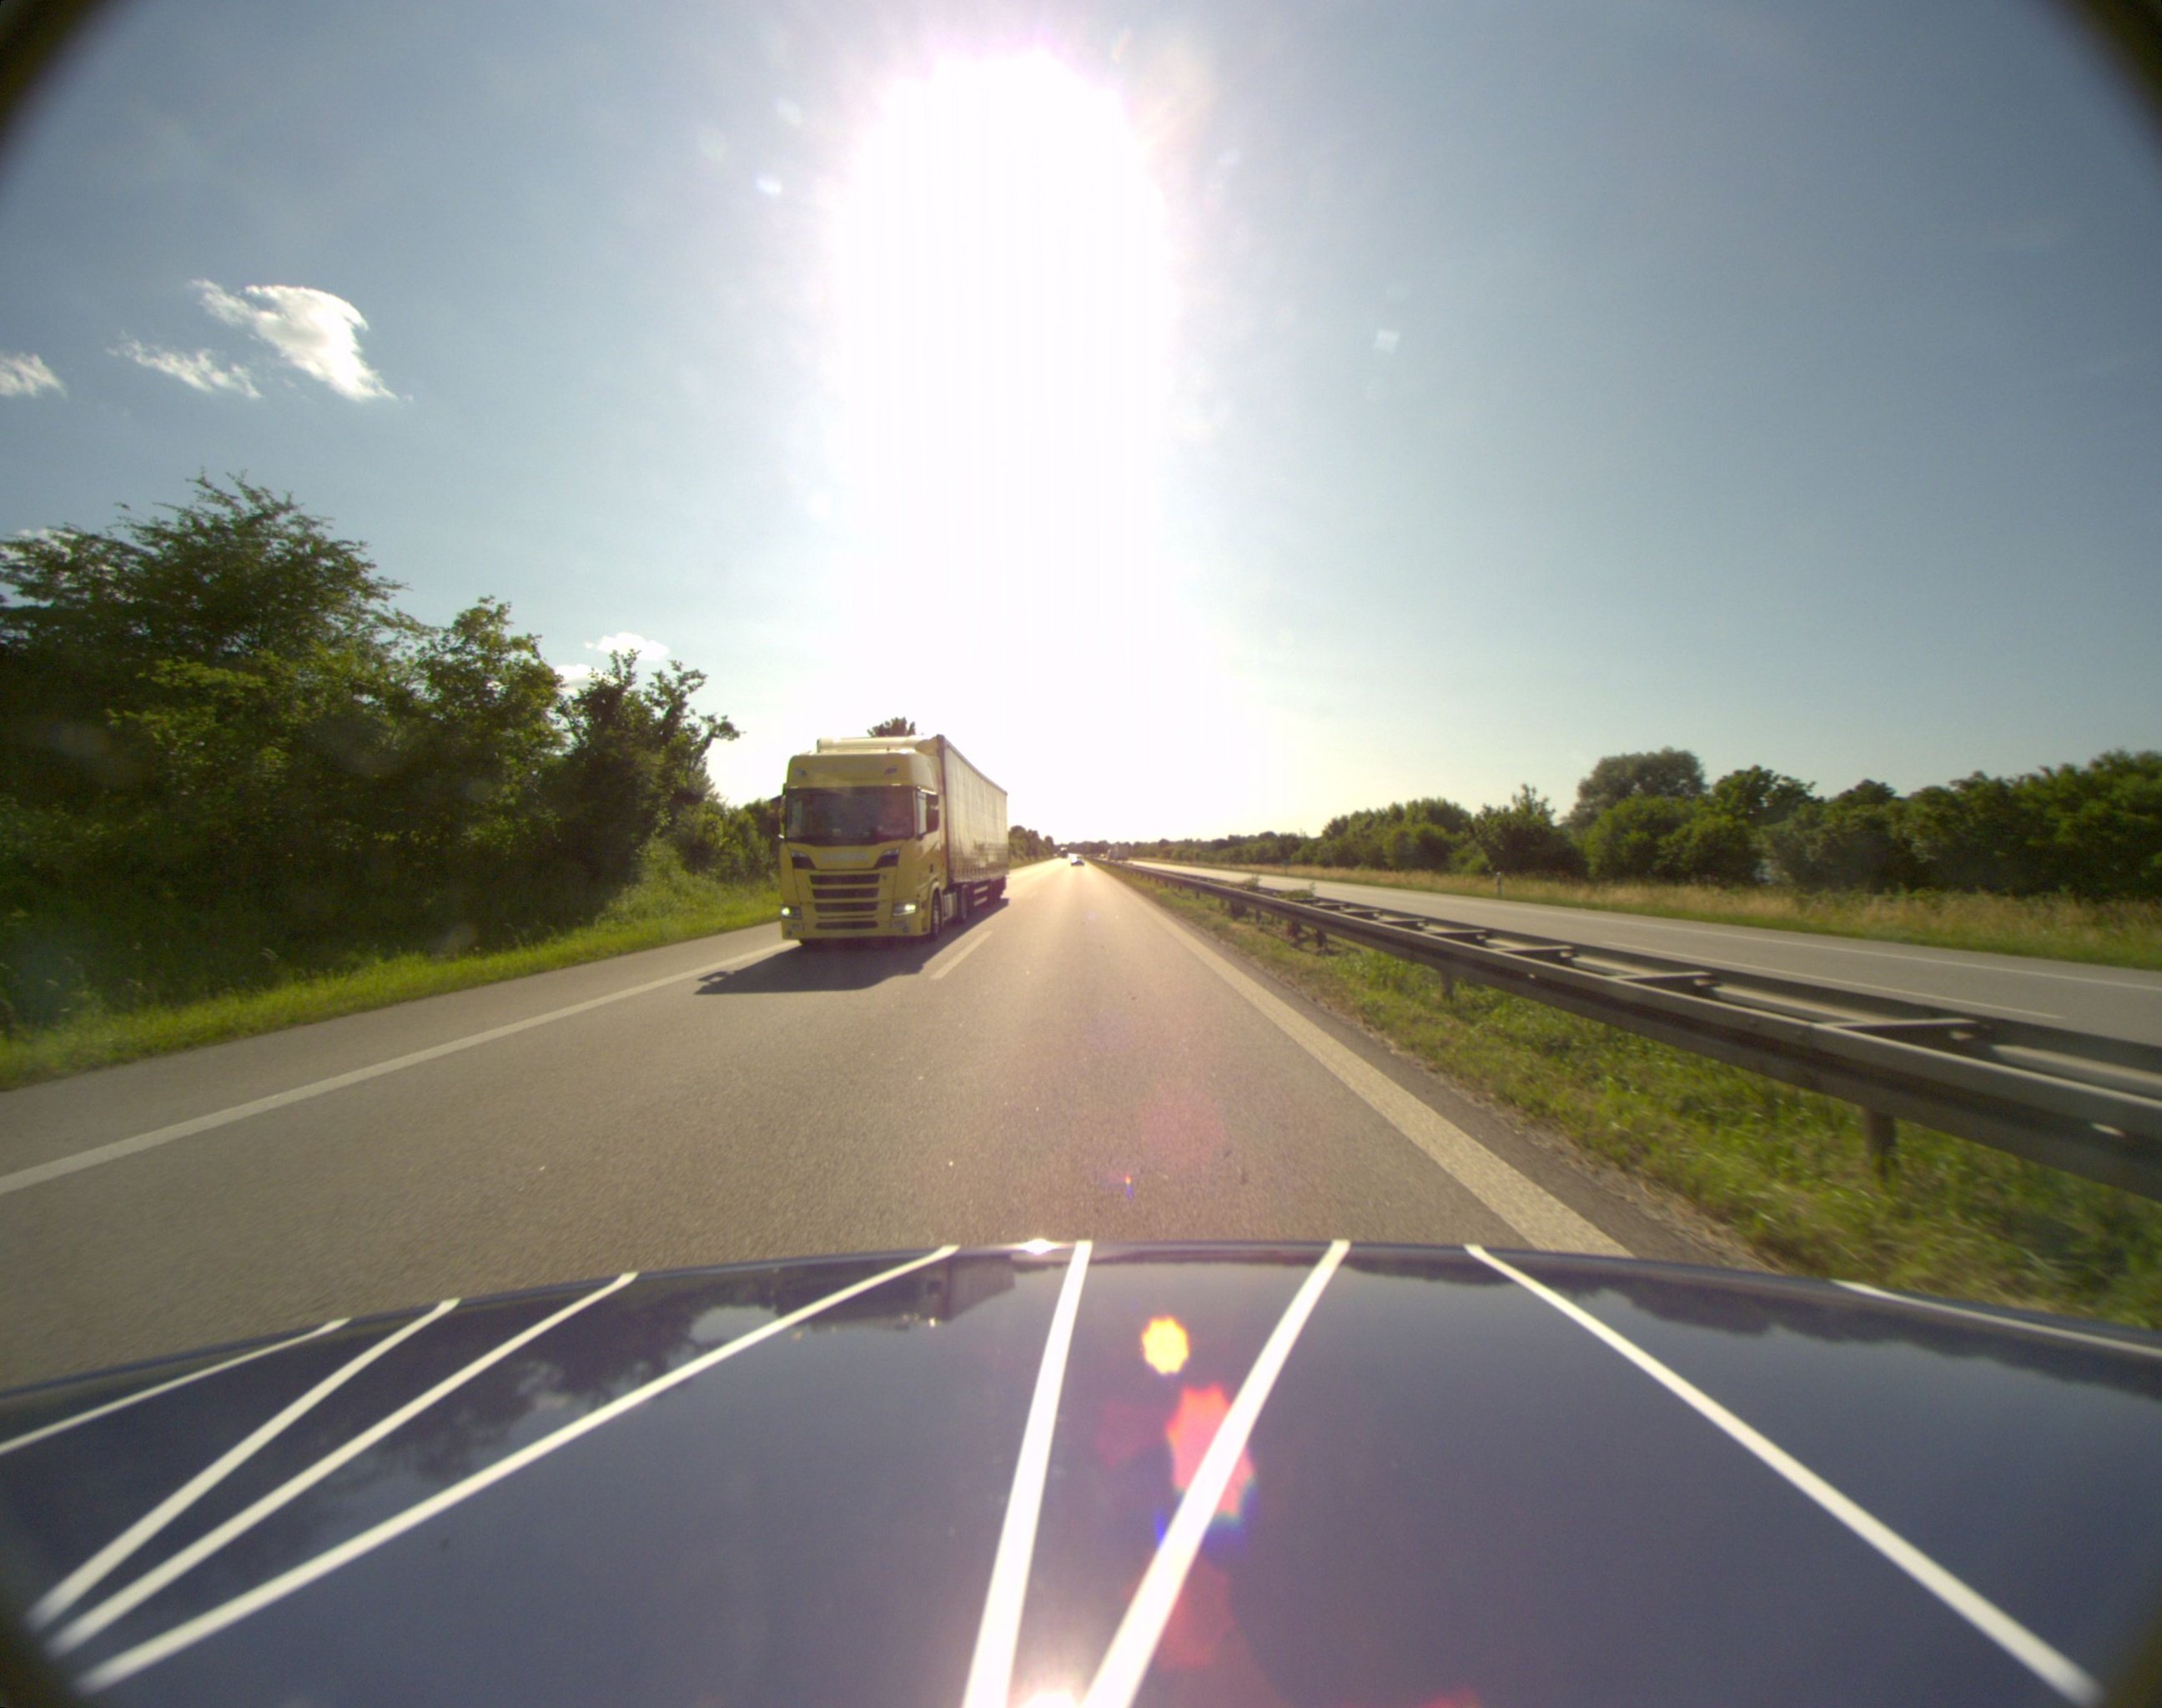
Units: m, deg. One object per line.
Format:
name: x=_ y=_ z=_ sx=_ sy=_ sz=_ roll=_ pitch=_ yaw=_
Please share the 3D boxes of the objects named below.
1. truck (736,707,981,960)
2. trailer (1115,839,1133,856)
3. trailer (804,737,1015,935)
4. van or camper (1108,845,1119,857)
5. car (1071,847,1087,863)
truck: x=-4.121 y=-0.373 z=15.881 sx=3.177 sy=4.090 sz=6.386 roll=-2 pitch=1 yaw=-1
trailer: x=10.863 y=-1.726 z=192.760 sx=3.193 sy=4.036 sz=14.593 roll=2 pitch=1 yaw=-2
trailer: x=-4.175 y=-0.443 z=22.585 sx=3.193 sy=4.036 sz=13.184 roll=-2 pitch=1 yaw=0
van or camper: x=7.461 y=-0.700 z=174.695 sx=1.999 sy=2.482 sz=7.226 roll=1 pitch=1 yaw=-1
car: x=-0.278 y=0.142 z=101.694 sx=1.999 sy=2.002 sz=4.358 roll=-2 pitch=1 yaw=-1
